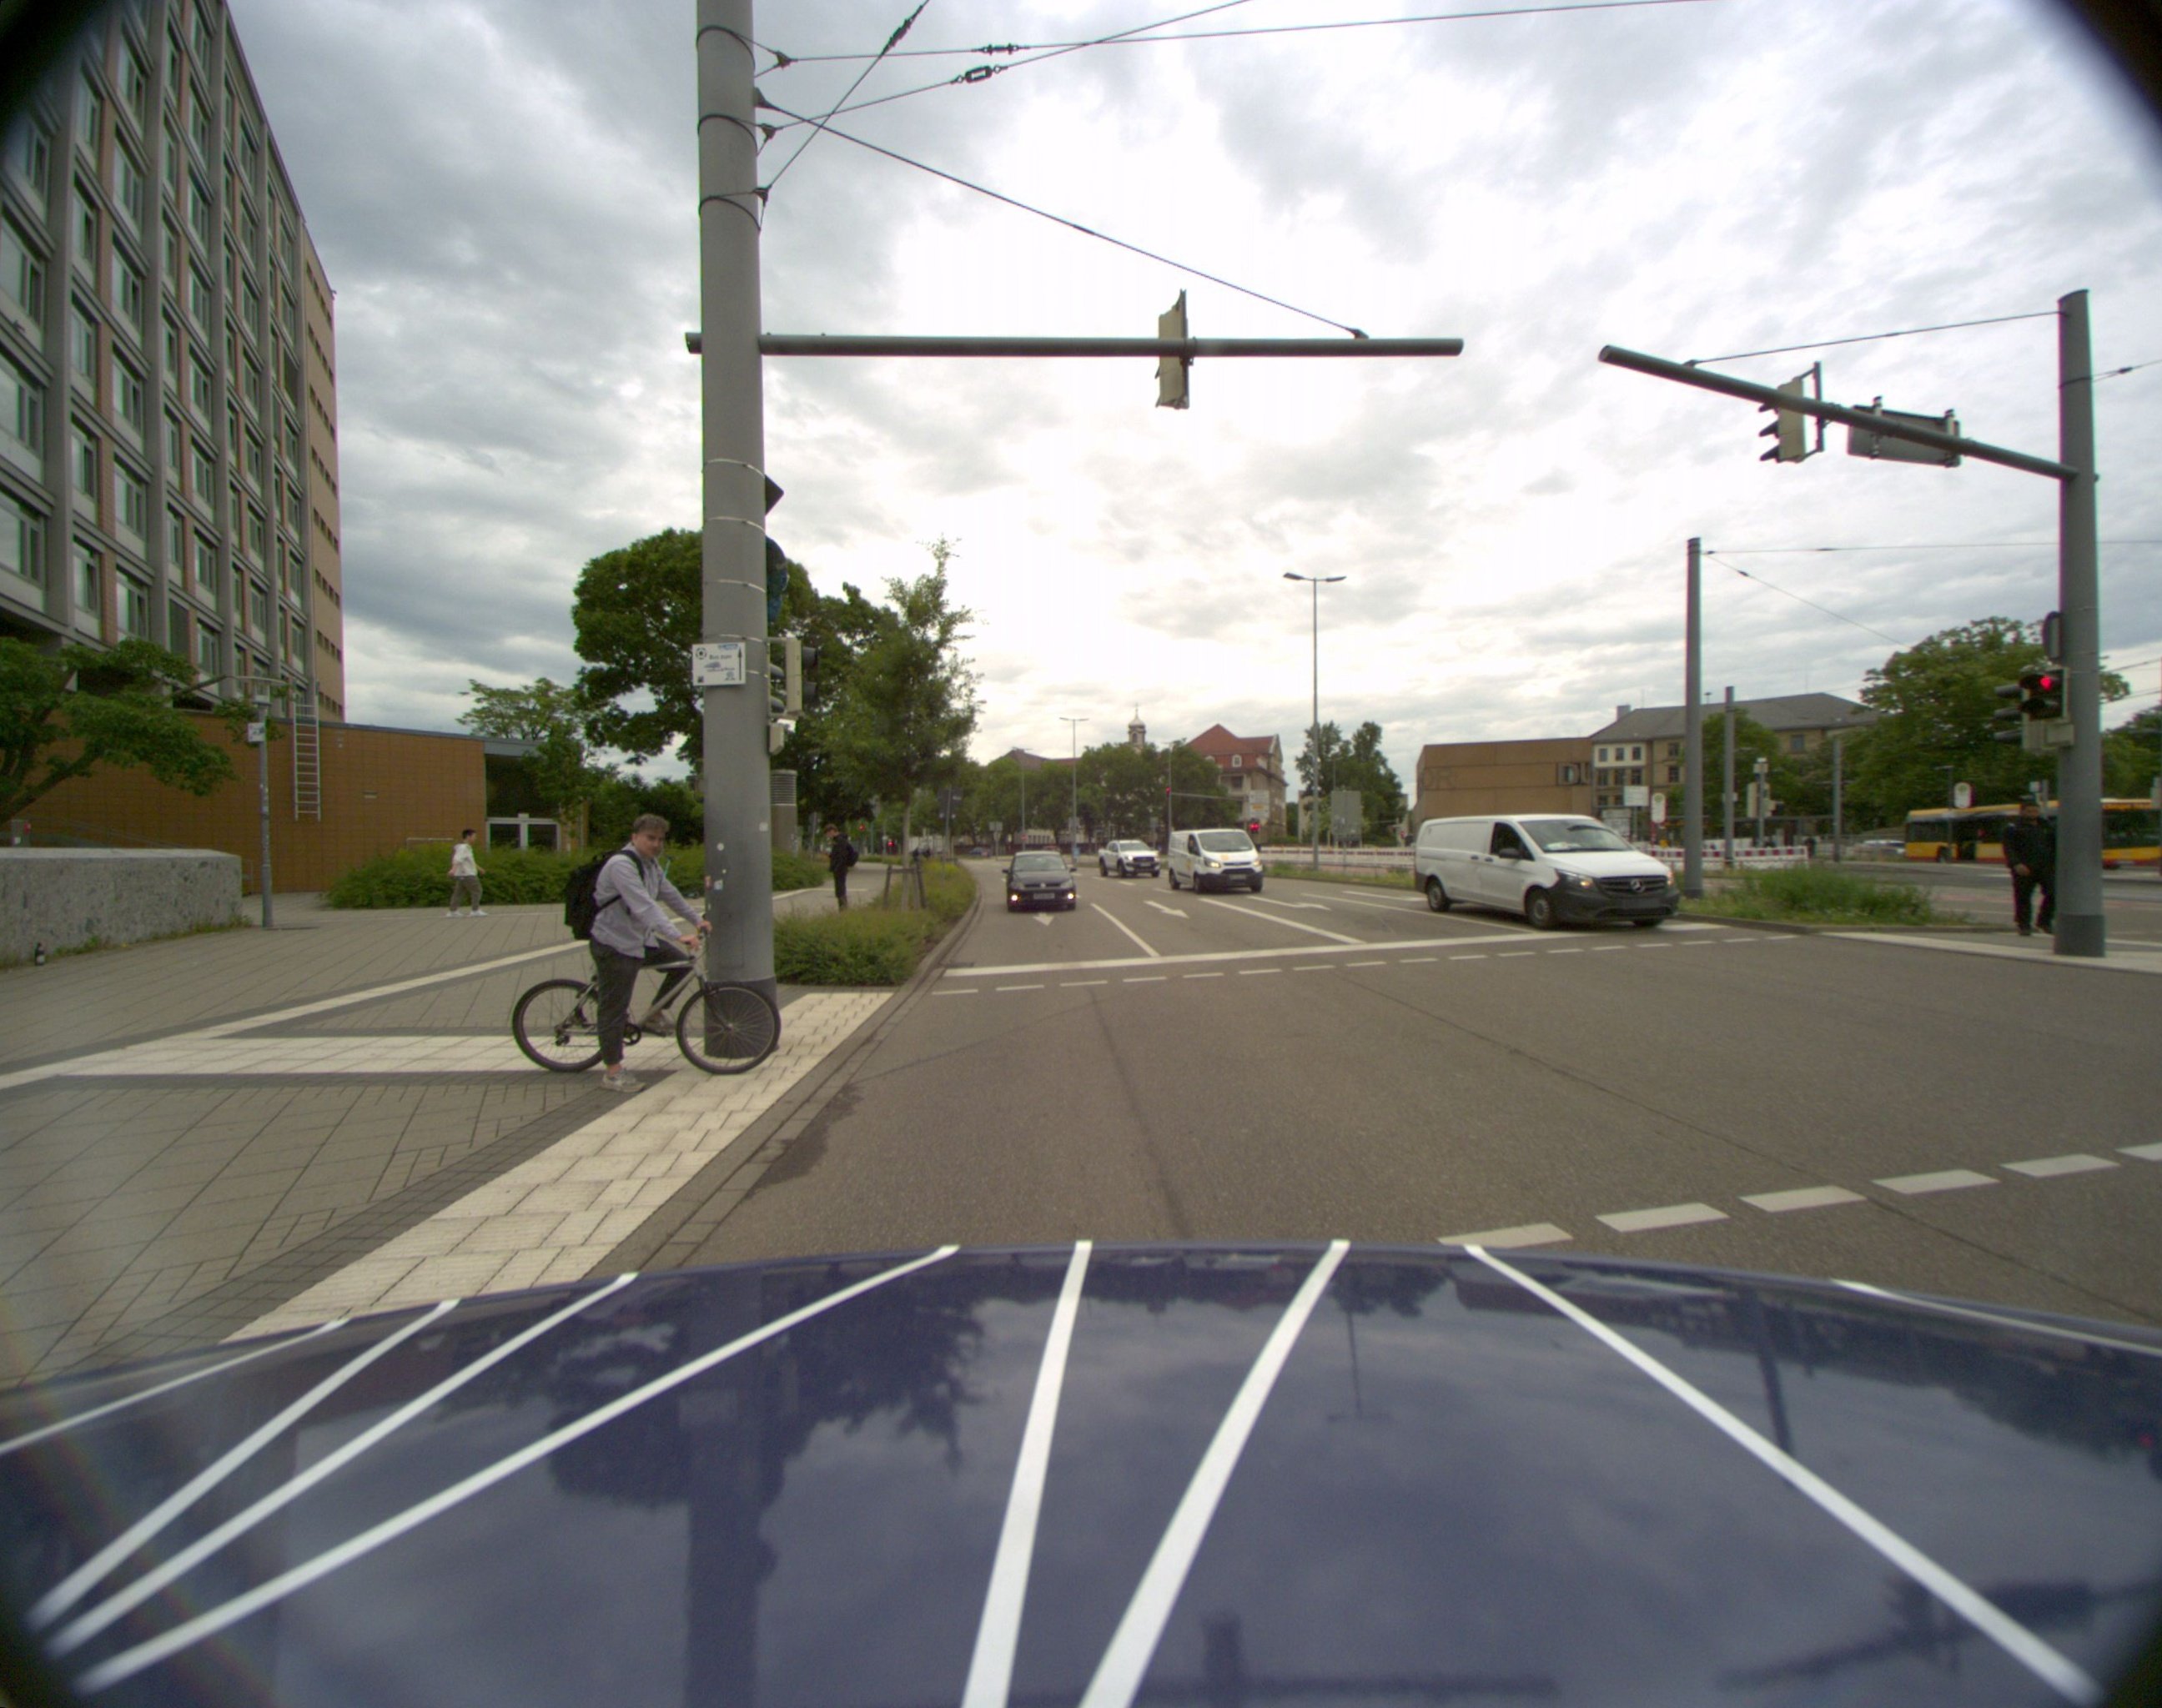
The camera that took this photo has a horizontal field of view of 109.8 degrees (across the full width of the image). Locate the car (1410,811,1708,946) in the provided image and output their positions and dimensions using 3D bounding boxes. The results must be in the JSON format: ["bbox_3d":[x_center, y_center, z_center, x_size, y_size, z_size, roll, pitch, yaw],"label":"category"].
[{"bbox_3d":[7.947,0.302,13.405,1.922,1.871,5.087,-2,1,-2],"label":"car"}]

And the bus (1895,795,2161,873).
[{"bbox_3d":[43.637,-0.930,35.799,2.858,3.060,12.038,-1,1,24],"label":"bus"}]

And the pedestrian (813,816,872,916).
[{"bbox_3d":[-4.740,0.223,15.095,0.876,1.917,0.722,-1,2,-38],"label":"pedestrian"}]

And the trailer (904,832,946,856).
[{"bbox_3d":[-28.311,-1.700,137.327,2.952,3.991,13.777,-2,1,-31],"label":"trailer"}]

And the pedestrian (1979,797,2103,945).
[{"bbox_3d":[13.292,0.220,10.560,0.779,1.932,0.983,0,1,33],"label":"pedestrian"}]

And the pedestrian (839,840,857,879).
[{"bbox_3d":[-10.881,0.256,35.462,0.631,1.790,0.597,2,1,-9],"label":"pedestrian"}]

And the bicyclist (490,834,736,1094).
[{"bbox_3d":[-2.934,0.637,4.888,1.101,1.512,0.759,-1,1,-9],"label":"bicyclist"}]

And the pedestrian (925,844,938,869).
[{"bbox_3d":[-11.153,0.174,56.701,0.596,1.790,0.723,3,1,38],"label":"pedestrian"}]

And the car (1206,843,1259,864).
[{"bbox_3d":[10.468,-0.046,52.884,2.001,1.390,3.994,-1,1,-16],"label":"car"}]

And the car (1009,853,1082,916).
[{"bbox_3d":[-1.013,0.707,19.568,1.656,1.404,3.997,-1,1,-6],"label":"car"}]

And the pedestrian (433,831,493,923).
[{"bbox_3d":[-12.418,0.445,15.291,0.704,1.795,0.837,-1,1,-24],"label":"pedestrian"}]

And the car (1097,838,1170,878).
[{"bbox_3d":[2.486,0.144,37.324,2.092,1.838,4.744,-1,1,-16],"label":"car"}]

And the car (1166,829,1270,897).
[{"bbox_3d":[4.202,0.240,24.030,2.000,1.931,4.520,-1,1,-7],"label":"car"}]

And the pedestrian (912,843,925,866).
[{"bbox_3d":[-12.920,0.037,60.402,0.596,1.790,0.723,3,1,38],"label":"pedestrian"}]

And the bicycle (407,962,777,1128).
[{"bbox_3d":[-3.012,1.170,4.874,1.826,0.835,0.767,1,1,-9],"label":"bicycle"}]

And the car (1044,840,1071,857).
[{"bbox_3d":[-2.984,-0.702,95.346,2.002,2.002,3.978,-2,1,-23],"label":"car"}]

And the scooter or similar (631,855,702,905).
[{"bbox_3d":[-11.452,0.691,20.999,1.607,1.282,0.693,-3,2,-36],"label":"scooter or similar"}]

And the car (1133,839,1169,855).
[{"bbox_3d":[8.481,-0.860,92.476,4.000,1.718,1.998,-2,1,-10],"label":"car"}]

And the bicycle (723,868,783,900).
[{"bbox_3d":[-9.732,0.867,22.616,0.557,0.843,2.075,0,1,10],"label":"bicycle"}]

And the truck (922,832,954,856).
[{"bbox_3d":[-24.753,-1.744,131.377,2.918,4.002,7.143,-2,1,-31],"label":"truck"}]
